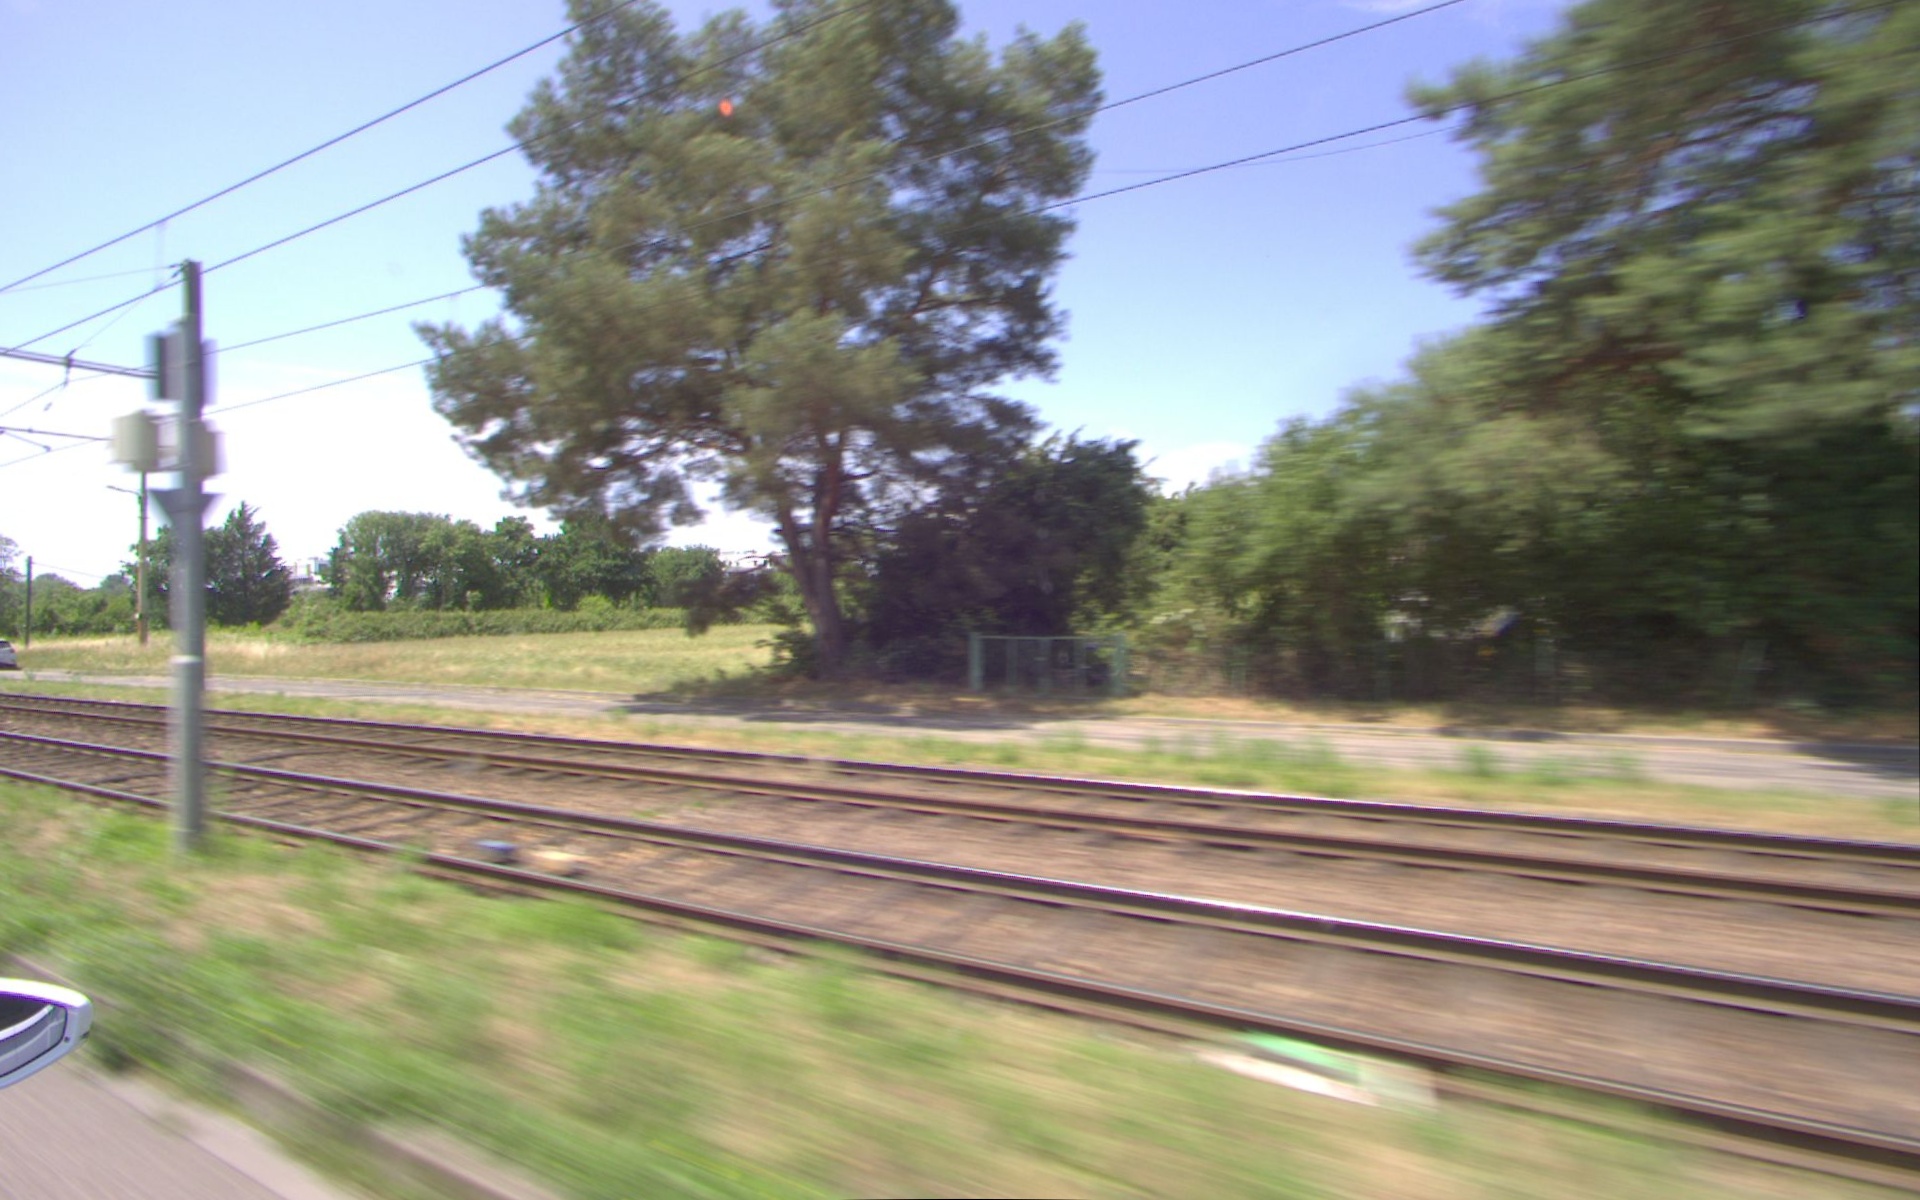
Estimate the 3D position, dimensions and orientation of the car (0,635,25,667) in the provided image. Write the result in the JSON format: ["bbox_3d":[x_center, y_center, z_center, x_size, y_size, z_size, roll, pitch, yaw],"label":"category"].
[{"bbox_3d":[-46.719,2.427,48.122,3.945,1.507,1.709,-1,-2,33],"label":"car"}]
